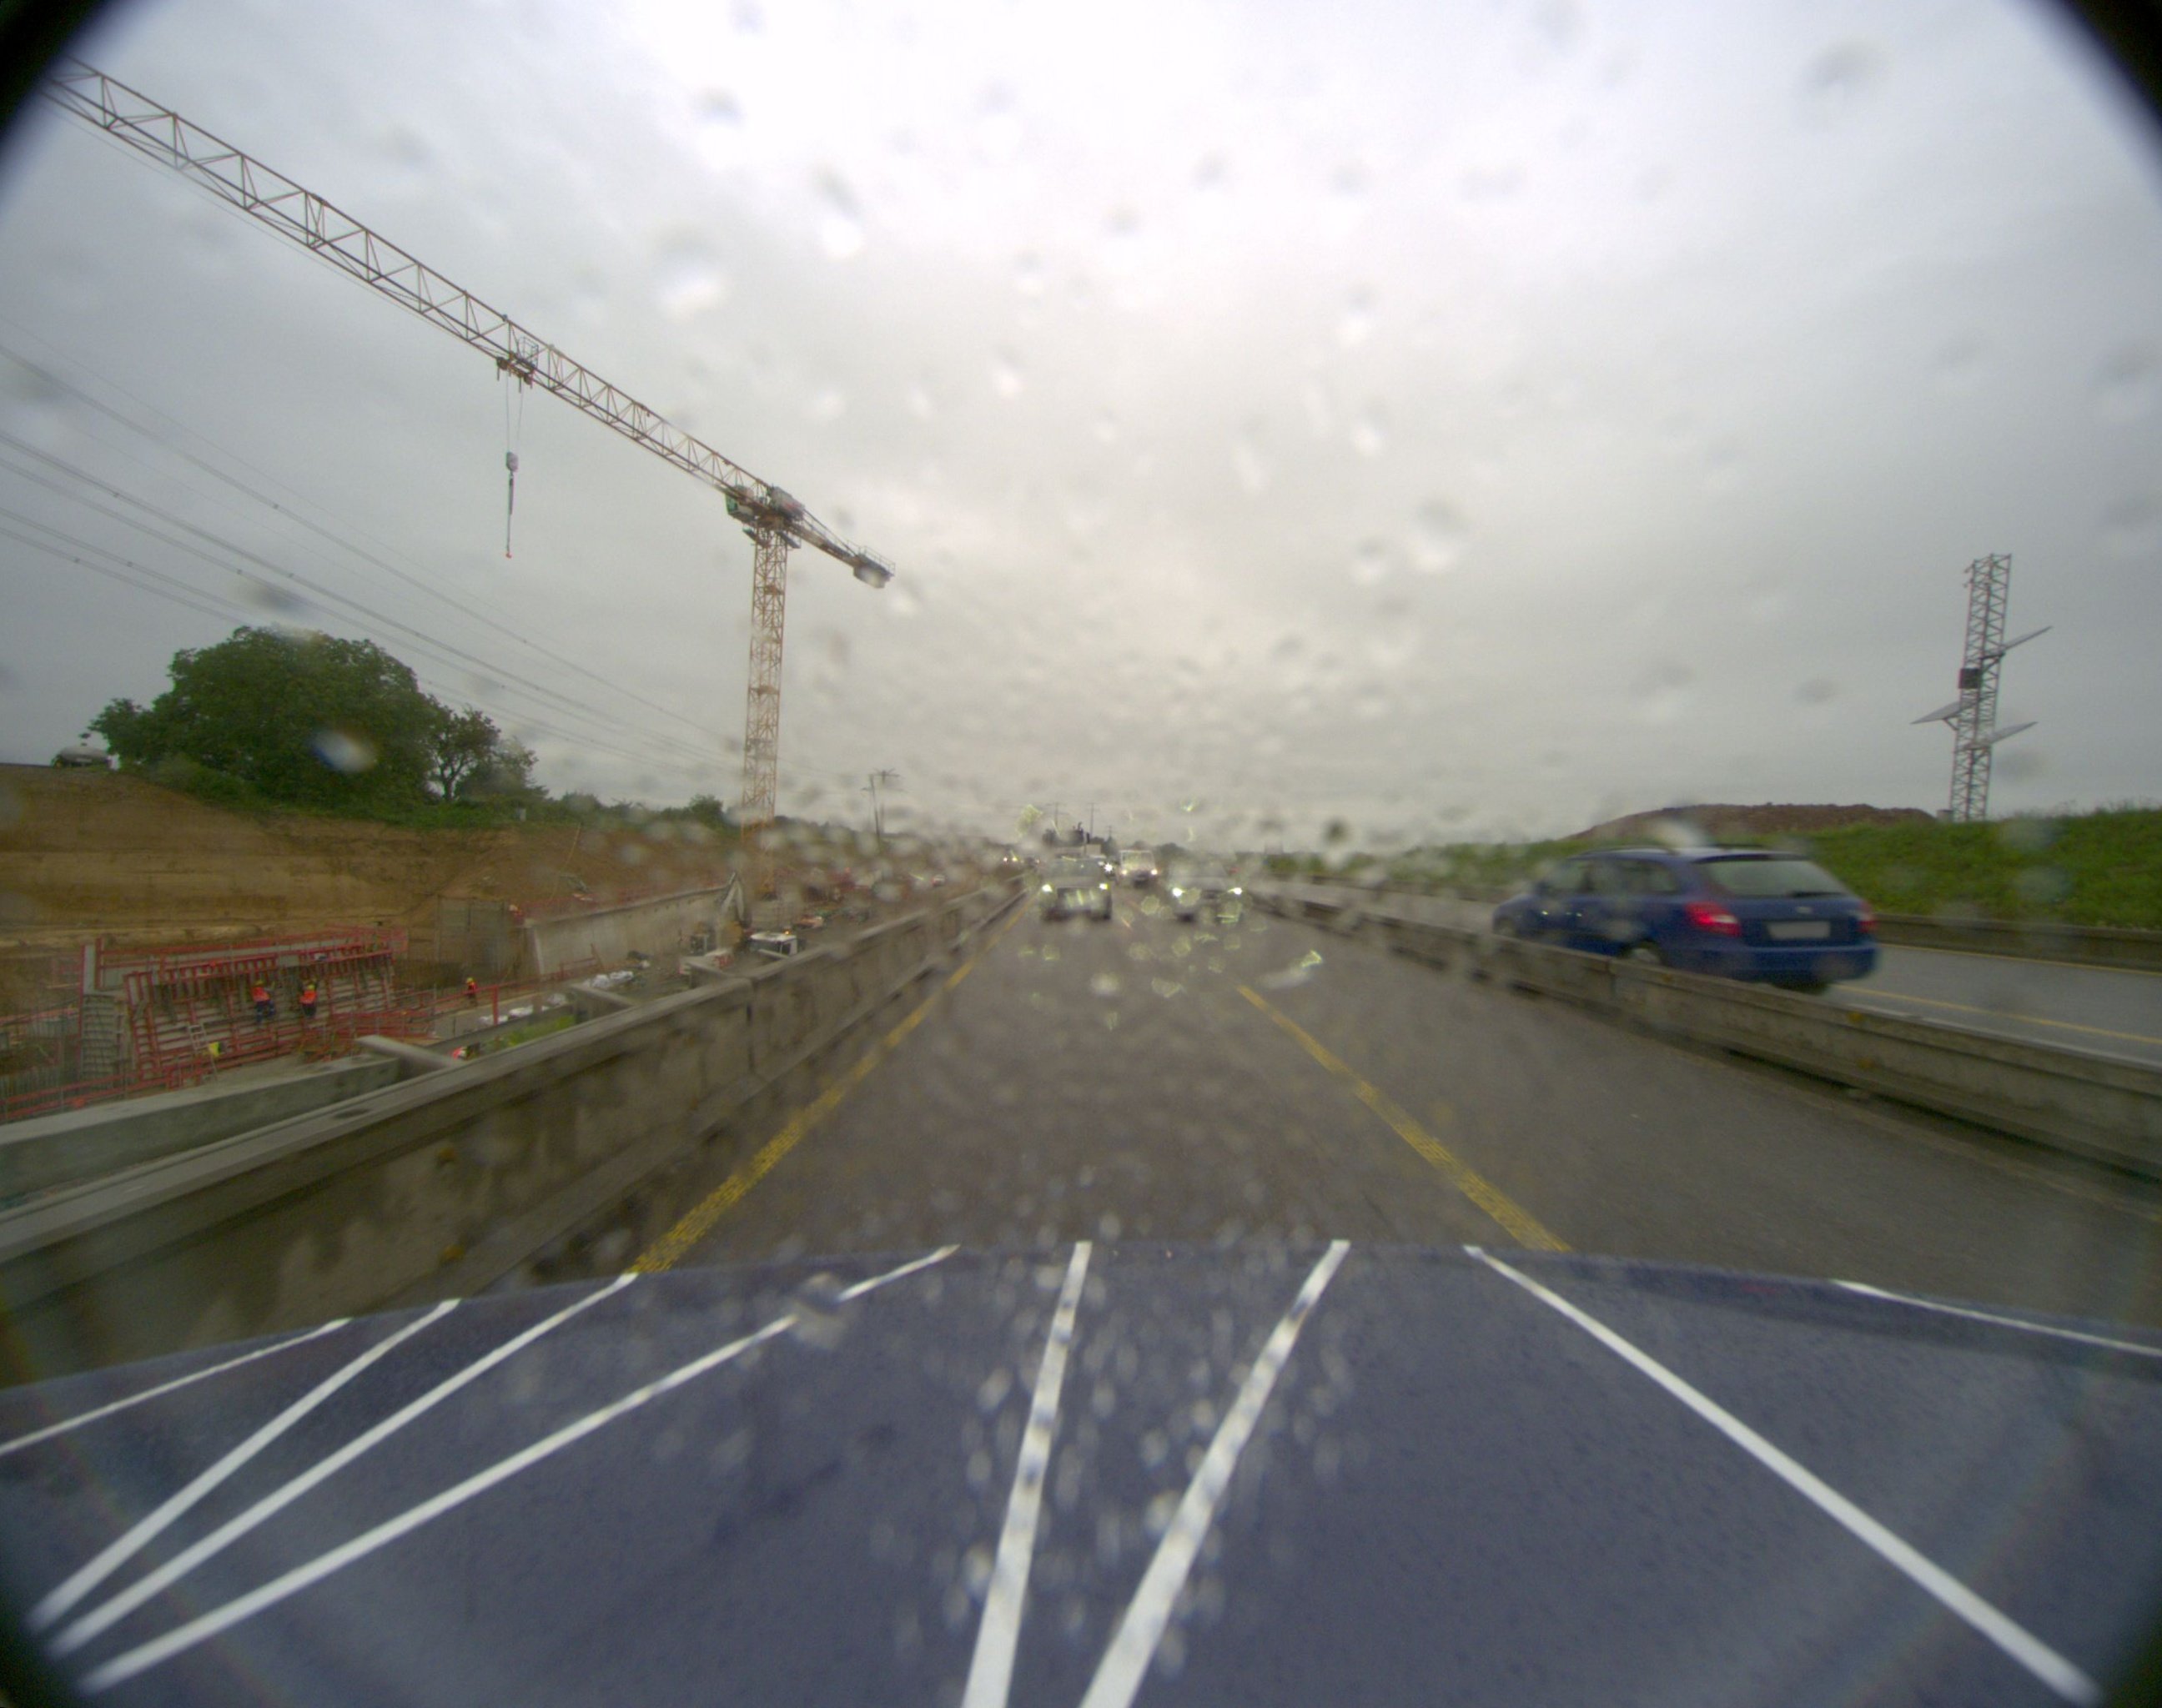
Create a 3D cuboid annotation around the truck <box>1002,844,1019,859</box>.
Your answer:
[{"bbox_3d":[-18.612,-0.698,201.102,3.545,3.871,8.333,-2,1,-1],"label":"truck"}]

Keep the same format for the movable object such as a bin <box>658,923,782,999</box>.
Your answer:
[{"bbox_3d":[-21.380,6.227,45.560,3.515,3.405,6.655,-1,2,8],"label":"movable object such as a bin"}]

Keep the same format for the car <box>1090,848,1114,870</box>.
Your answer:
[{"bbox_3d":[1.796,0.412,66.051,1.789,1.744,3.999,-2,1,-1],"label":"car"}]

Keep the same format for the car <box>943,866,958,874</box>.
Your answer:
[{"bbox_3d":[-26.896,3.300,156.878,2.351,1.609,4.858,0,1,-2],"label":"car"}]

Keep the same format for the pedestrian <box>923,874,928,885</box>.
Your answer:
[{"bbox_3d":[-25.932,4.219,126.572,0.614,1.848,0.666,1,1,0],"label":"pedestrian"}]

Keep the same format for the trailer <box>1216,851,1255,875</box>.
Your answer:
[{"bbox_3d":[10.104,0.567,49.938,1.634,1.456,4.160,1,1,-1],"label":"trailer"}]

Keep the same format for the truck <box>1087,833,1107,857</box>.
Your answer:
[{"bbox_3d":[2.780,-1.582,138.269,3.227,4.072,9.200,-2,1,-1],"label":"truck"}]

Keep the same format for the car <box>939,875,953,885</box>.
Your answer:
[{"bbox_3d":[-24.162,4.614,135.753,1.860,1.609,4.079,0,1,-2],"label":"car"}]

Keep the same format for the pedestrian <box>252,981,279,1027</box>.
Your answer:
[{"bbox_3d":[-34.422,6.332,32.074,0.488,1.793,0.583,-4,2,40],"label":"pedestrian"}]

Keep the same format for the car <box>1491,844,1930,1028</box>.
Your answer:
[{"bbox_3d":[6.291,0.669,8.265,1.653,1.494,3.829,-2,1,2],"label":"car"}]

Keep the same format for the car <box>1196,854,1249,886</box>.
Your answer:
[{"bbox_3d":[6.770,0.740,36.791,1.793,1.418,3.707,-2,1,-1],"label":"car"}]

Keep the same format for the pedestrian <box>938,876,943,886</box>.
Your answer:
[{"bbox_3d":[-24.184,4.642,130.825,0.614,1.671,0.603,-2,1,1],"label":"pedestrian"}]

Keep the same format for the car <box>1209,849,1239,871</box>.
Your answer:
[{"bbox_3d":[10.086,0.426,53.888,1.361,1.456,3.716,1,1,-1],"label":"car"}]

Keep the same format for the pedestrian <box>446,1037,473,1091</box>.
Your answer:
[{"bbox_3d":[-23.314,7.875,28.486,0.603,1.894,0.481,2,2,-1],"label":"pedestrian"}]

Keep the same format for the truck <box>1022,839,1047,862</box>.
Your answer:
[{"bbox_3d":[-9.138,-0.688,148.352,4.320,4.319,13.400,-2,1,-5],"label":"truck"}]

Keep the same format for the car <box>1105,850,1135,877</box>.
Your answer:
[{"bbox_3d":[2.529,0.591,49.809,1.626,1.583,3.999,-2,1,-1],"label":"car"}]

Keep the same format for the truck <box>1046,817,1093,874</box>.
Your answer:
[{"bbox_3d":[-0.840,-0.576,51.272,2.856,3.463,8.641,-1,1,-2],"label":"truck"}]

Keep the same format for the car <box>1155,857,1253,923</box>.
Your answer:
[{"bbox_3d":[2.922,0.808,18.860,1.805,1.375,4.087,-1,1,0],"label":"car"}]

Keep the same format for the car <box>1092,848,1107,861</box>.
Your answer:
[{"bbox_3d":[2.595,0.031,104.827,1.871,1.744,3.999,-2,1,-1],"label":"car"}]

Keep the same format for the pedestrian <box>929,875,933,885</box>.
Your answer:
[{"bbox_3d":[-25.037,4.322,126.764,0.614,1.671,0.603,-2,1,1],"label":"pedestrian"}]

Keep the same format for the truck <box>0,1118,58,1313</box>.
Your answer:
[{"bbox_3d":[-23.045,7.428,11.424,2.709,3.591,9.073,1,2,3],"label":"truck"}]

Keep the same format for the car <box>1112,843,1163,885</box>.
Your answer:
[{"bbox_3d":[2.776,0.441,38.463,2.069,1.934,5.155,-1,1,-1],"label":"car"}]

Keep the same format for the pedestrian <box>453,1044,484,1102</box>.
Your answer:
[{"bbox_3d":[-21.918,7.809,27.179,0.603,1.894,0.614,1,1,-1],"label":"pedestrian"}]

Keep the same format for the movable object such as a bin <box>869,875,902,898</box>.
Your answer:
[{"bbox_3d":[-28.168,4.662,109.550,3.501,2.866,3.999,5,1,-1],"label":"movable object such as a bin"}]

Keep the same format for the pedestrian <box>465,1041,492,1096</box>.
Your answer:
[{"bbox_3d":[-22.297,7.933,28.130,0.603,1.894,0.481,1,2,-1],"label":"pedestrian"}]

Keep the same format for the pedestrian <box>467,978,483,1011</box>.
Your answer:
[{"bbox_3d":[-33.462,7.746,41.951,0.489,1.750,0.481,2,2,-1],"label":"pedestrian"}]

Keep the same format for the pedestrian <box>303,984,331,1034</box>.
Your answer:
[{"bbox_3d":[-34.156,6.933,33.969,0.489,2.087,0.481,-6,2,-1],"label":"pedestrian"}]

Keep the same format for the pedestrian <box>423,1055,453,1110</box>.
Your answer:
[{"bbox_3d":[-22.591,8.034,26.701,0.603,1.760,0.481,3,1,-1],"label":"pedestrian"}]

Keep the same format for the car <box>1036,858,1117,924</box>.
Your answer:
[{"bbox_3d":[-0.139,0.878,20.013,1.874,1.481,4.260,-1,0,-1],"label":"car"}]

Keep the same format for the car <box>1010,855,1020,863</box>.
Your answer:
[{"bbox_3d":[-13.251,1.018,152.721,1.789,1.418,3.999,-2,1,-1],"label":"car"}]
